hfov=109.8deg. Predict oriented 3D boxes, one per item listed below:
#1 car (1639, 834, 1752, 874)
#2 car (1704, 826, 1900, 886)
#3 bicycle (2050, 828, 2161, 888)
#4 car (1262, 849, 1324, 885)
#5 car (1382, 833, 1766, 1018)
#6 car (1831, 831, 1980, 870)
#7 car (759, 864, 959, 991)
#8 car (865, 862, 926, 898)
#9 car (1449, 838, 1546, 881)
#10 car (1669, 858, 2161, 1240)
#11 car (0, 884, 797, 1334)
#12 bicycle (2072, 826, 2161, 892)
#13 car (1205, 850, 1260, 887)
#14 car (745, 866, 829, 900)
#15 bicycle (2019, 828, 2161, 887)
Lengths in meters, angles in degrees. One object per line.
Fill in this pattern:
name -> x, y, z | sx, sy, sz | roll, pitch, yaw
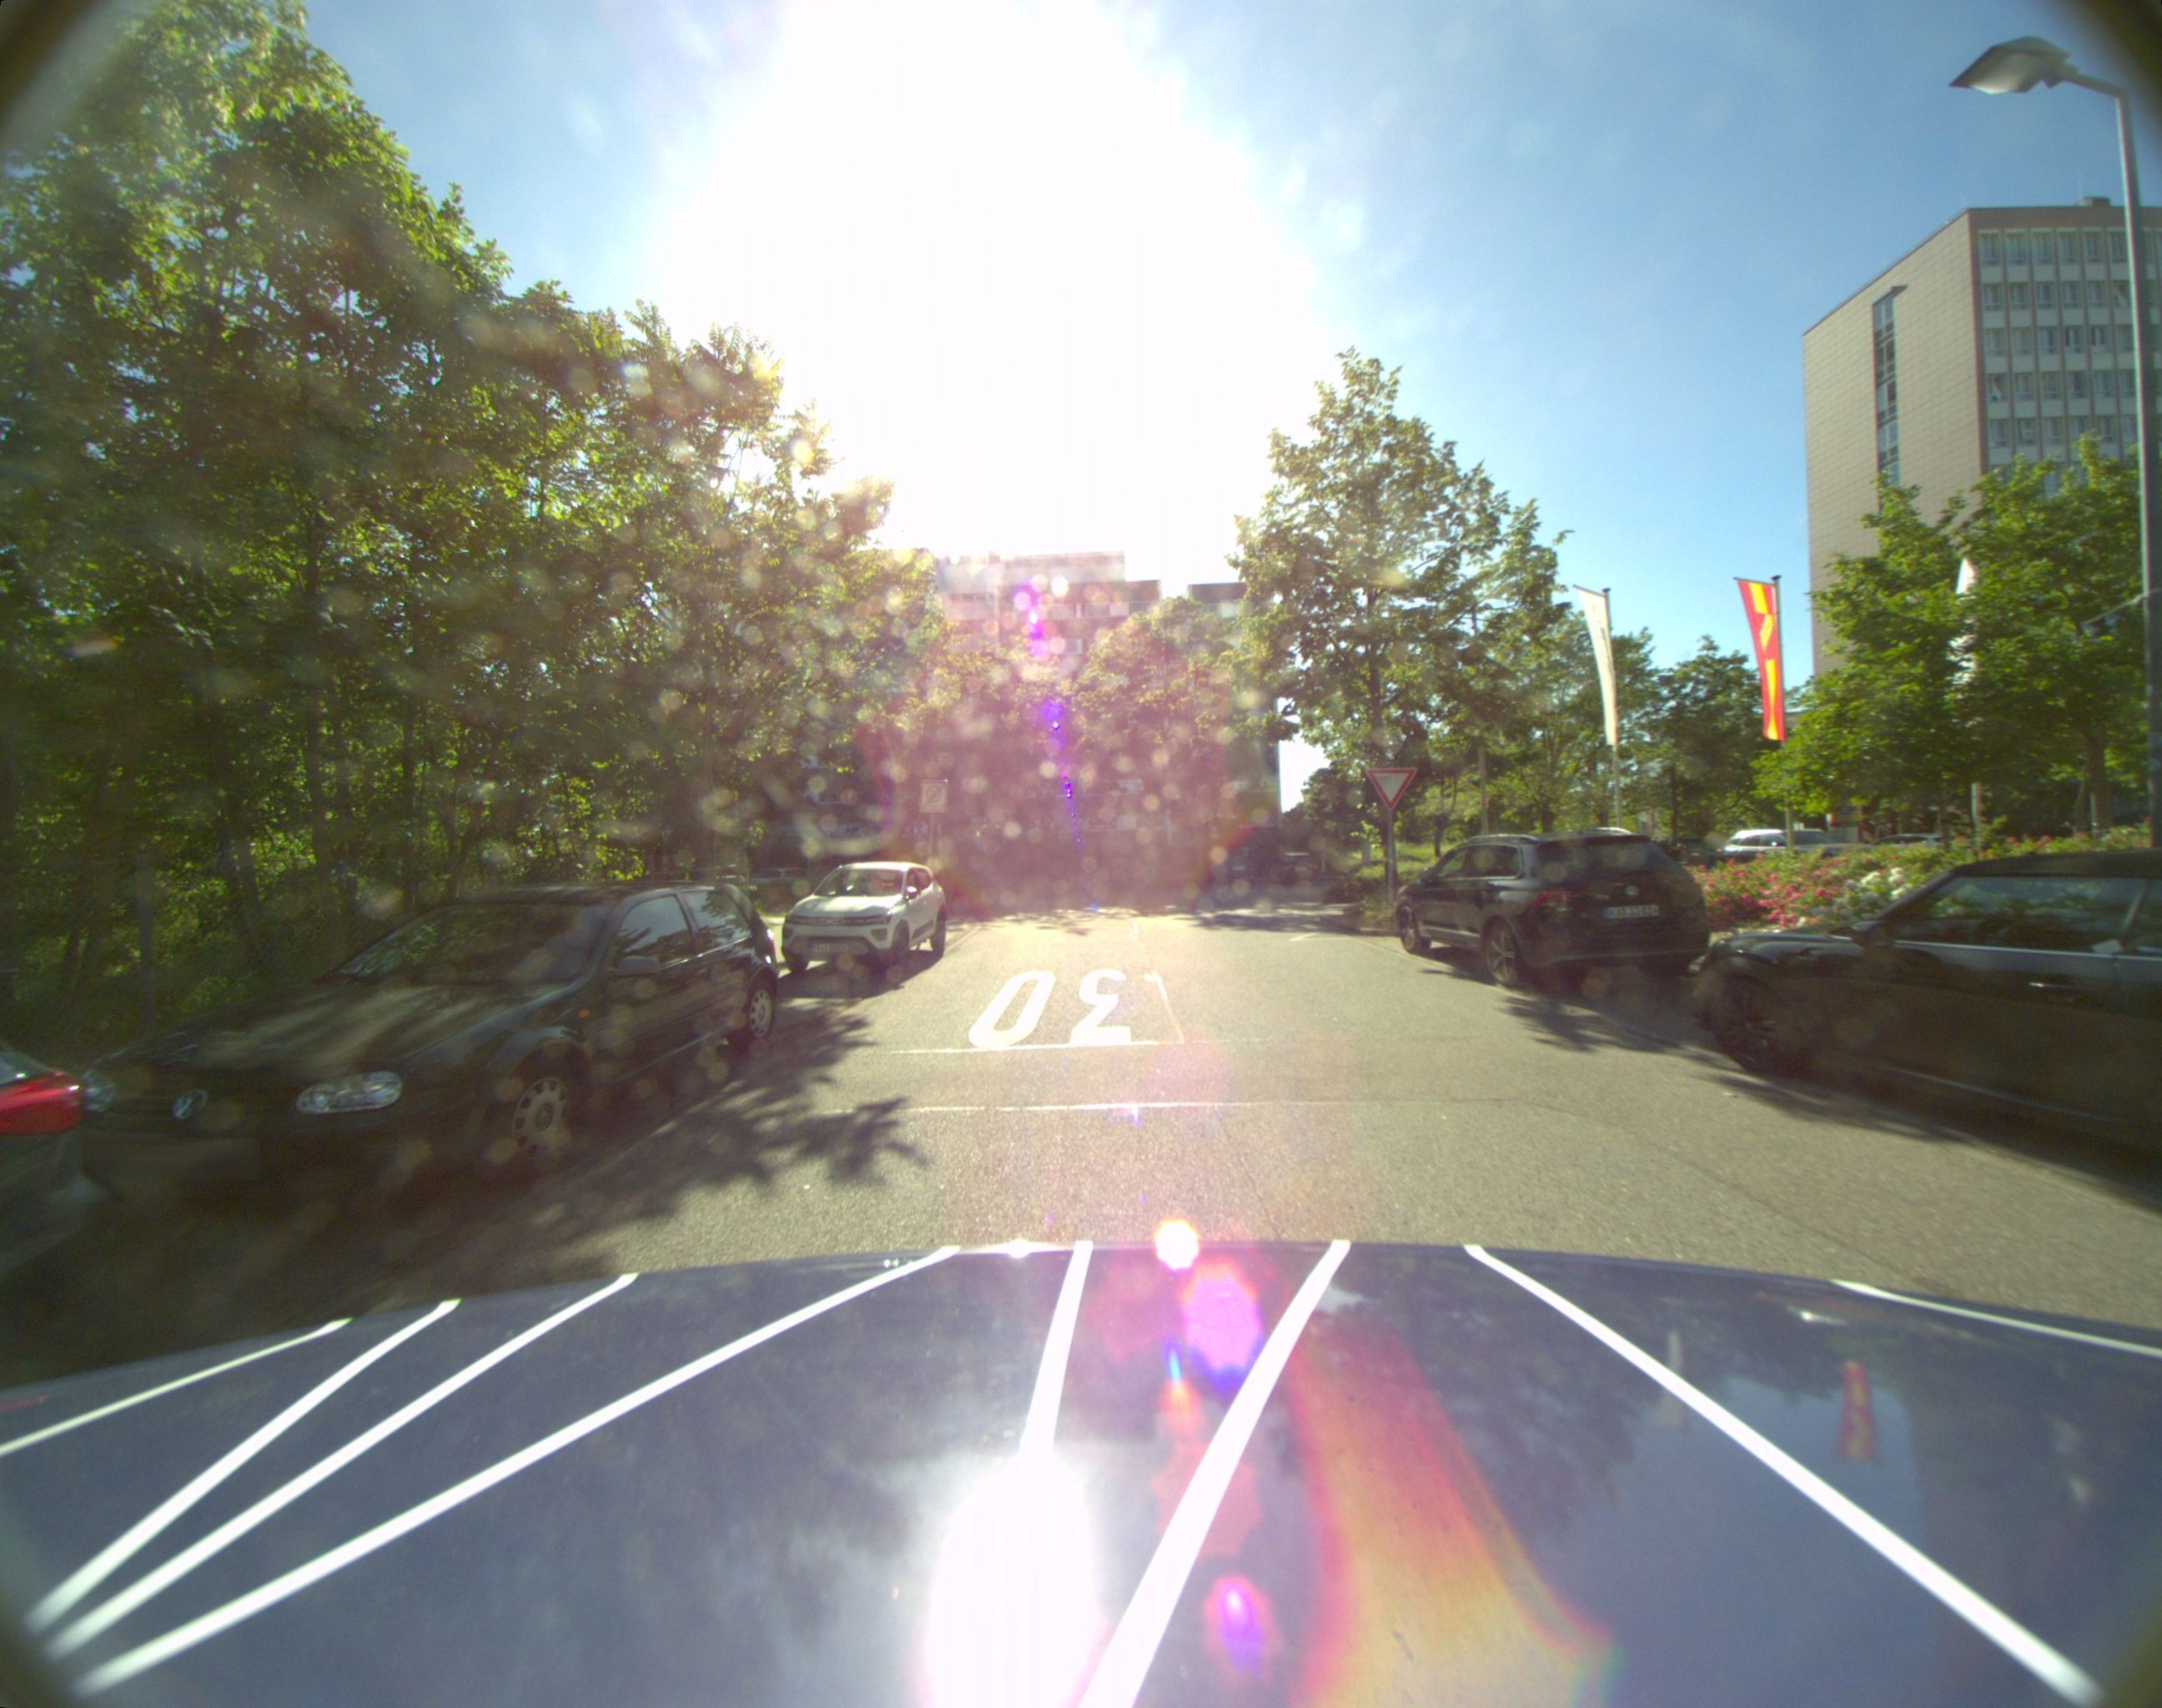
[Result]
car -> 27.699, -0.038, 34.416 | 1.732, 1.609, 4.131 | -3, 1, 0
car -> 20.691, 0.102, 22.093 | 1.770, 1.511, 4.208 | -2, -1, 3
bicycle -> 19.431, 0.062, 14.113 | 2.191, 1.041, 0.438 | -2, -1, 2
car -> 9.722, 0.552, 35.098 | 1.820, 1.379, 3.999 | -2, 2, 2
car -> 5.427, 0.638, 9.212 | 1.891, 1.610, 4.339 | -4, 1, 2
car -> 36.913, -0.200, 34.218 | 1.835, 1.584, 4.440 | -2, 1, -1
car -> -3.165, 0.965, 11.736 | 1.623, 1.442, 4.091 | -2, 1, 3
car -> -8.669, 1.161, 35.795 | 1.715, 1.443, 4.000 | -2, 1, 2
car -> 18.883, 0.198, 34.684 | 1.998, 1.769, 4.602 | -2, 1, 2
car -> 5.136, 0.793, 3.664 | 1.582, 1.495, 3.790 | -2, 0, -1
car -> -3.582, 1.046, 4.867 | 1.829, 1.463, 4.069 | -2, 0, 2
bicycle -> 17.828, 0.066, 12.557 | 2.191, 1.041, 0.438 | -2, -1, 2
car -> 6.946, 0.629, 35.171 | 1.700, 1.490, 3.819 | -2, 2, -1
car -> -13.541, 1.296, 35.315 | 1.825, 1.419, 4.291 | -2, -1, 7
bicycle -> 19.441, 0.073, 14.597 | 2.191, 1.041, 0.438 | -2, -1, 2
